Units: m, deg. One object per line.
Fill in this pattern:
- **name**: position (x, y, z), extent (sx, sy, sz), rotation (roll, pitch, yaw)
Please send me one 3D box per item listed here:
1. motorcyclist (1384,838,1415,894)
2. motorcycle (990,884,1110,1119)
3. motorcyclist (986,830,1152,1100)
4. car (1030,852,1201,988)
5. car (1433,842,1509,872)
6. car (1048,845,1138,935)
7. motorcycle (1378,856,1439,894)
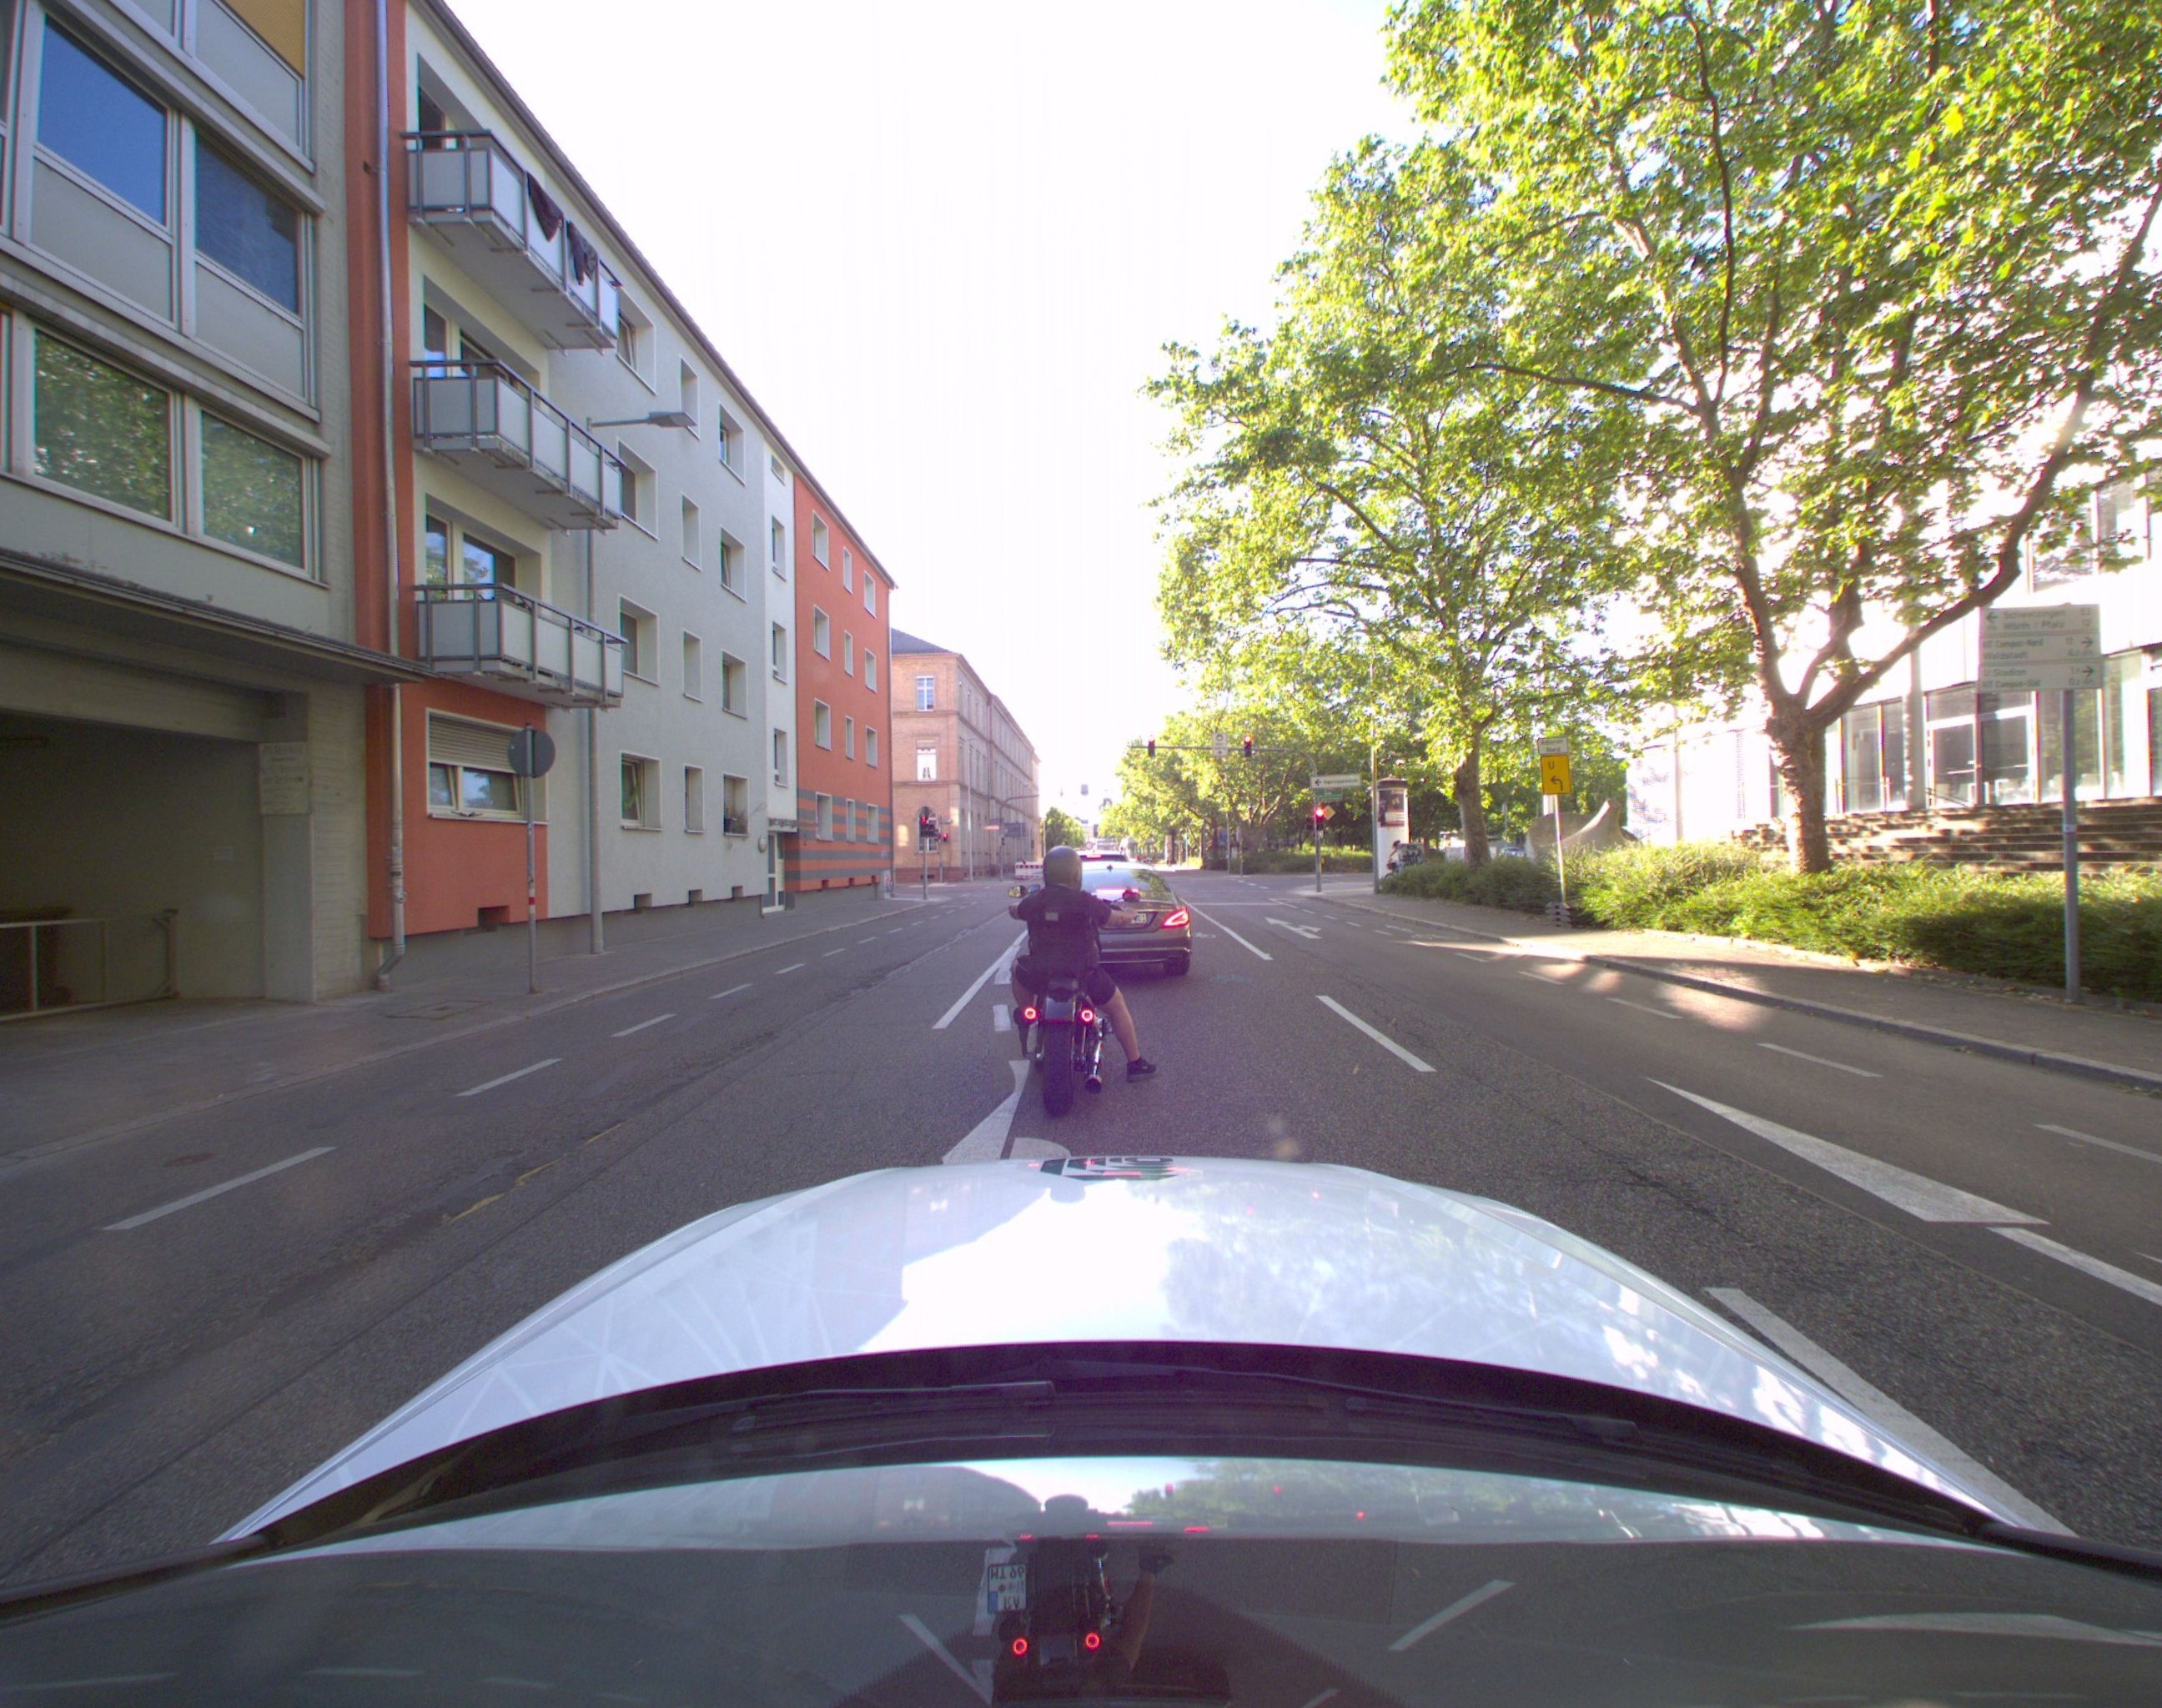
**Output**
- **motorcyclist**: position (10.767, 0.392, 27.571), extent (0.818, 1.863, 0.673), rotation (0, -1, 7)
- **motorcycle**: position (-0.142, 0.853, 5.544), extent (0.657, 1.240, 2.058), rotation (0, -1, 2)
- **motorcyclist**: position (-0.053, 0.671, 5.451), extent (0.986, 1.611, 1.121), rotation (0, -1, 1)
- **car**: position (0.261, 0.745, 11.246), extent (1.821, 1.486, 4.325), rotation (0, -1, -5)
- **car**: position (24.629, 0.203, 51.526), extent (3.974, 1.772, 1.738), rotation (-1, 0, -1)
- **car**: position (0.286, 0.690, 17.097), extent (1.645, 1.652, 4.002), rotation (0, -1, 2)
- **motorcycle**: position (11.071, 0.711, 27.547), extent (1.771, 1.243, 0.724), rotation (0, -1, 7)
